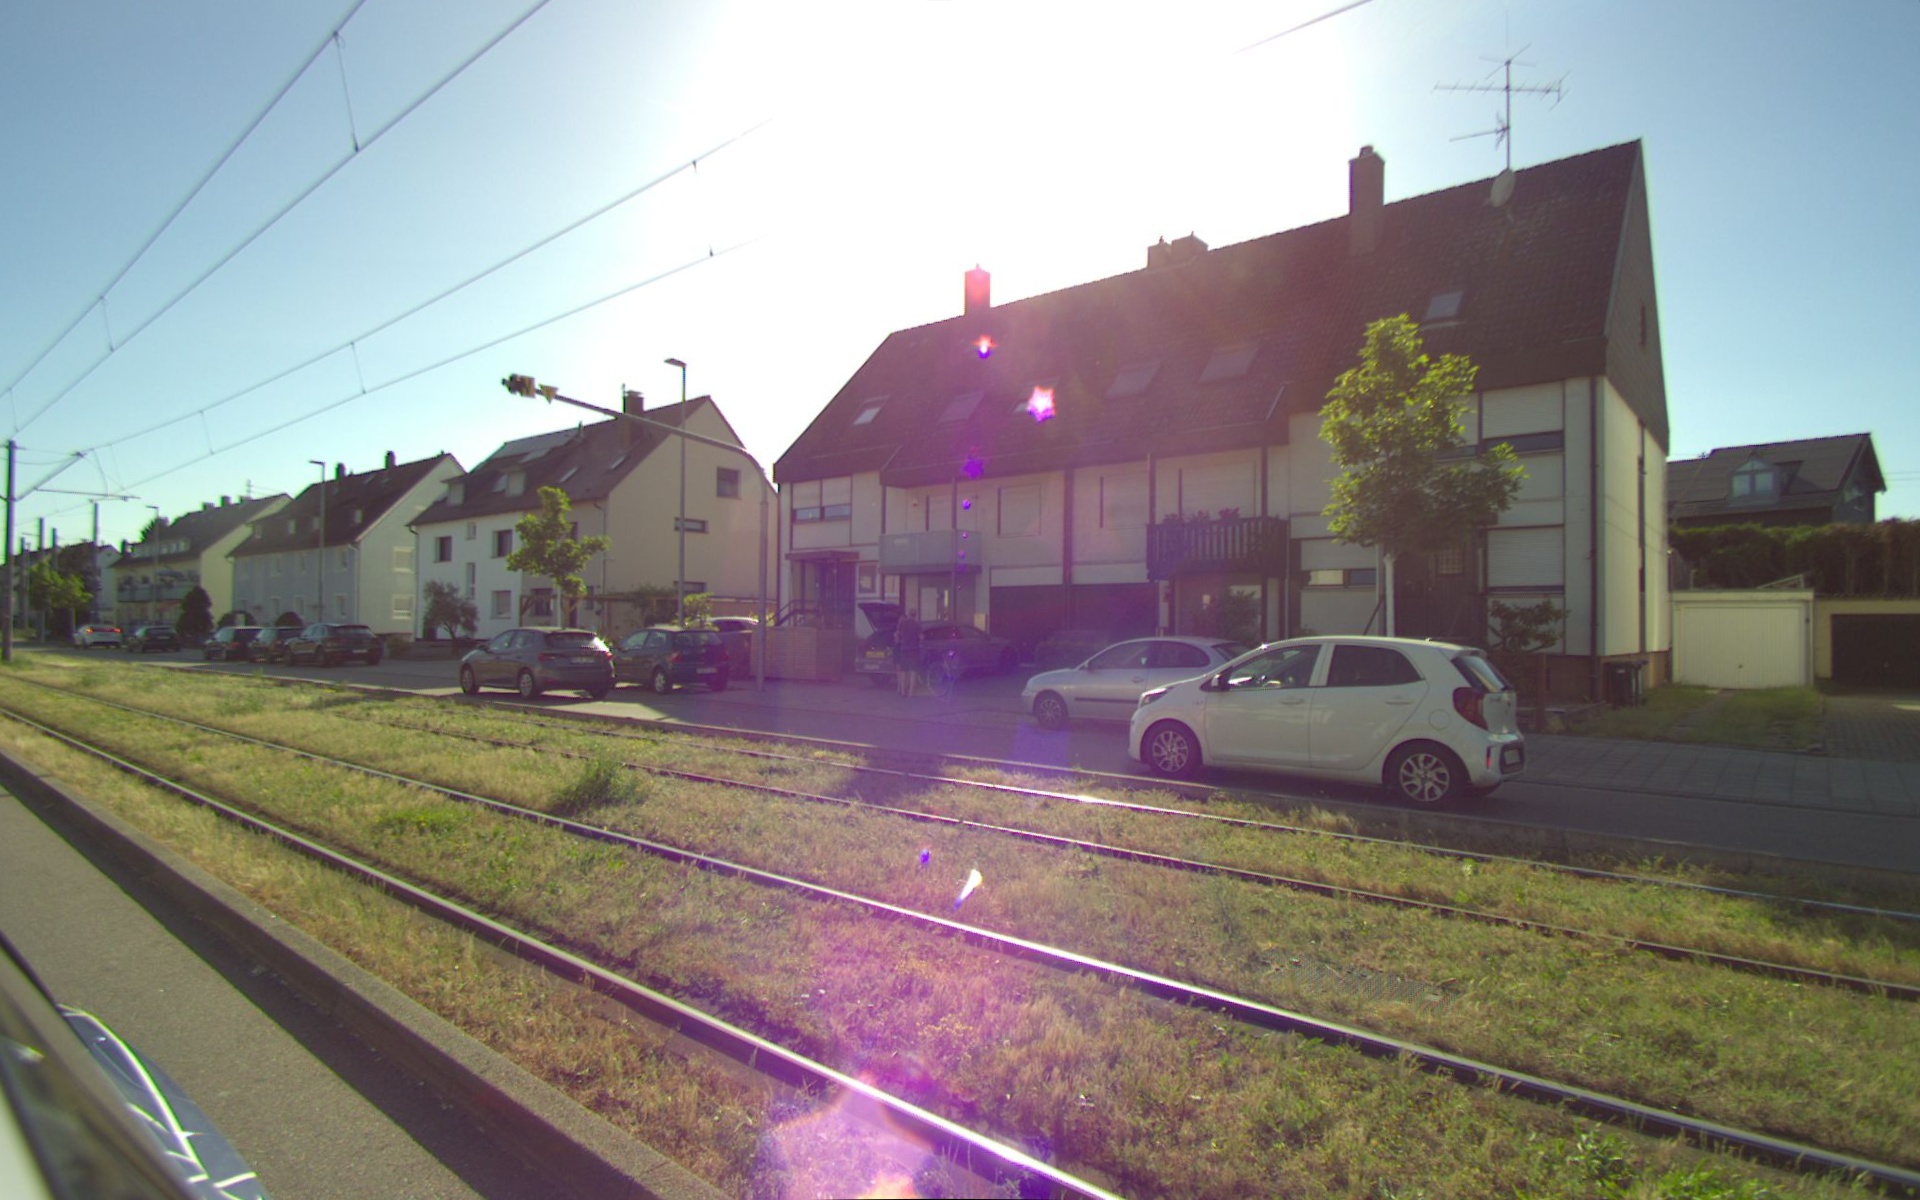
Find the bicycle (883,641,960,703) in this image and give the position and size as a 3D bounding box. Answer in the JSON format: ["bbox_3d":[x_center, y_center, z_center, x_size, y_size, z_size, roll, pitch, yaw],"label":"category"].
[{"bbox_3d":[-0.824,1.467,20.922,0.471,1.172,1.873,0,0,-43],"label":"bicycle"}]

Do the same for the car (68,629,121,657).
[{"bbox_3d":[-52.003,2.539,60.770,4.090,1.542,1.808,-1,0,40],"label":"car"}]

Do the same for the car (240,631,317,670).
[{"bbox_3d":[-27.339,2.006,40.559,3.995,1.479,1.451,-2,-3,40],"label":"car"}]

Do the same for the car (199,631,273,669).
[{"bbox_3d":[-31.421,2.129,43.880,4.398,1.466,1.637,-1,0,40],"label":"car"}]

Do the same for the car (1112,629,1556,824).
[{"bbox_3d":[3.492,1.060,9.763,3.677,1.487,1.671,-1,-3,40],"label":"car"}]

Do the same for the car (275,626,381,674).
[{"bbox_3d":[-23.267,1.789,37.199,4.855,1.572,1.901,-1,0,40],"label":"car"}]

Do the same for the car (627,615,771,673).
[{"bbox_3d":[-8.609,1.421,33.674,1.969,1.797,4.347,-2,-2,40],"label":"car"}]

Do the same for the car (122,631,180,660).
[{"bbox_3d":[-42.665,2.354,53.343,4.090,1.408,1.683,-1,0,40],"label":"car"}]

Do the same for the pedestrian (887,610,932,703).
[{"bbox_3d":[-1.029,1.131,20.608,0.676,1.829,0.610,-1,-1,33],"label":"pedestrian"}]

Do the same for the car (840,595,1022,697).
[{"bbox_3d":[-0.603,1.001,24.220,1.787,2.096,4.414,-1,1,42],"label":"car"}]

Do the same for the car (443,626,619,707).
[{"bbox_3d":[-8.974,1.336,21.029,4.080,1.487,1.671,-1,-4,40],"label":"car"}]

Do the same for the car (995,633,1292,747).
[{"bbox_3d":[2.630,1.231,15.098,4.100,1.447,1.641,-1,-2,40],"label":"car"}]

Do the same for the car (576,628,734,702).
[{"bbox_3d":[-7.084,1.420,23.279,4.084,1.523,1.602,-2,-1,42],"label":"car"}]

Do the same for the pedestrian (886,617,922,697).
[{"bbox_3d":[-1.222,1.218,22.011,0.544,1.701,0.625,0,-1,-34],"label":"pedestrian"}]
